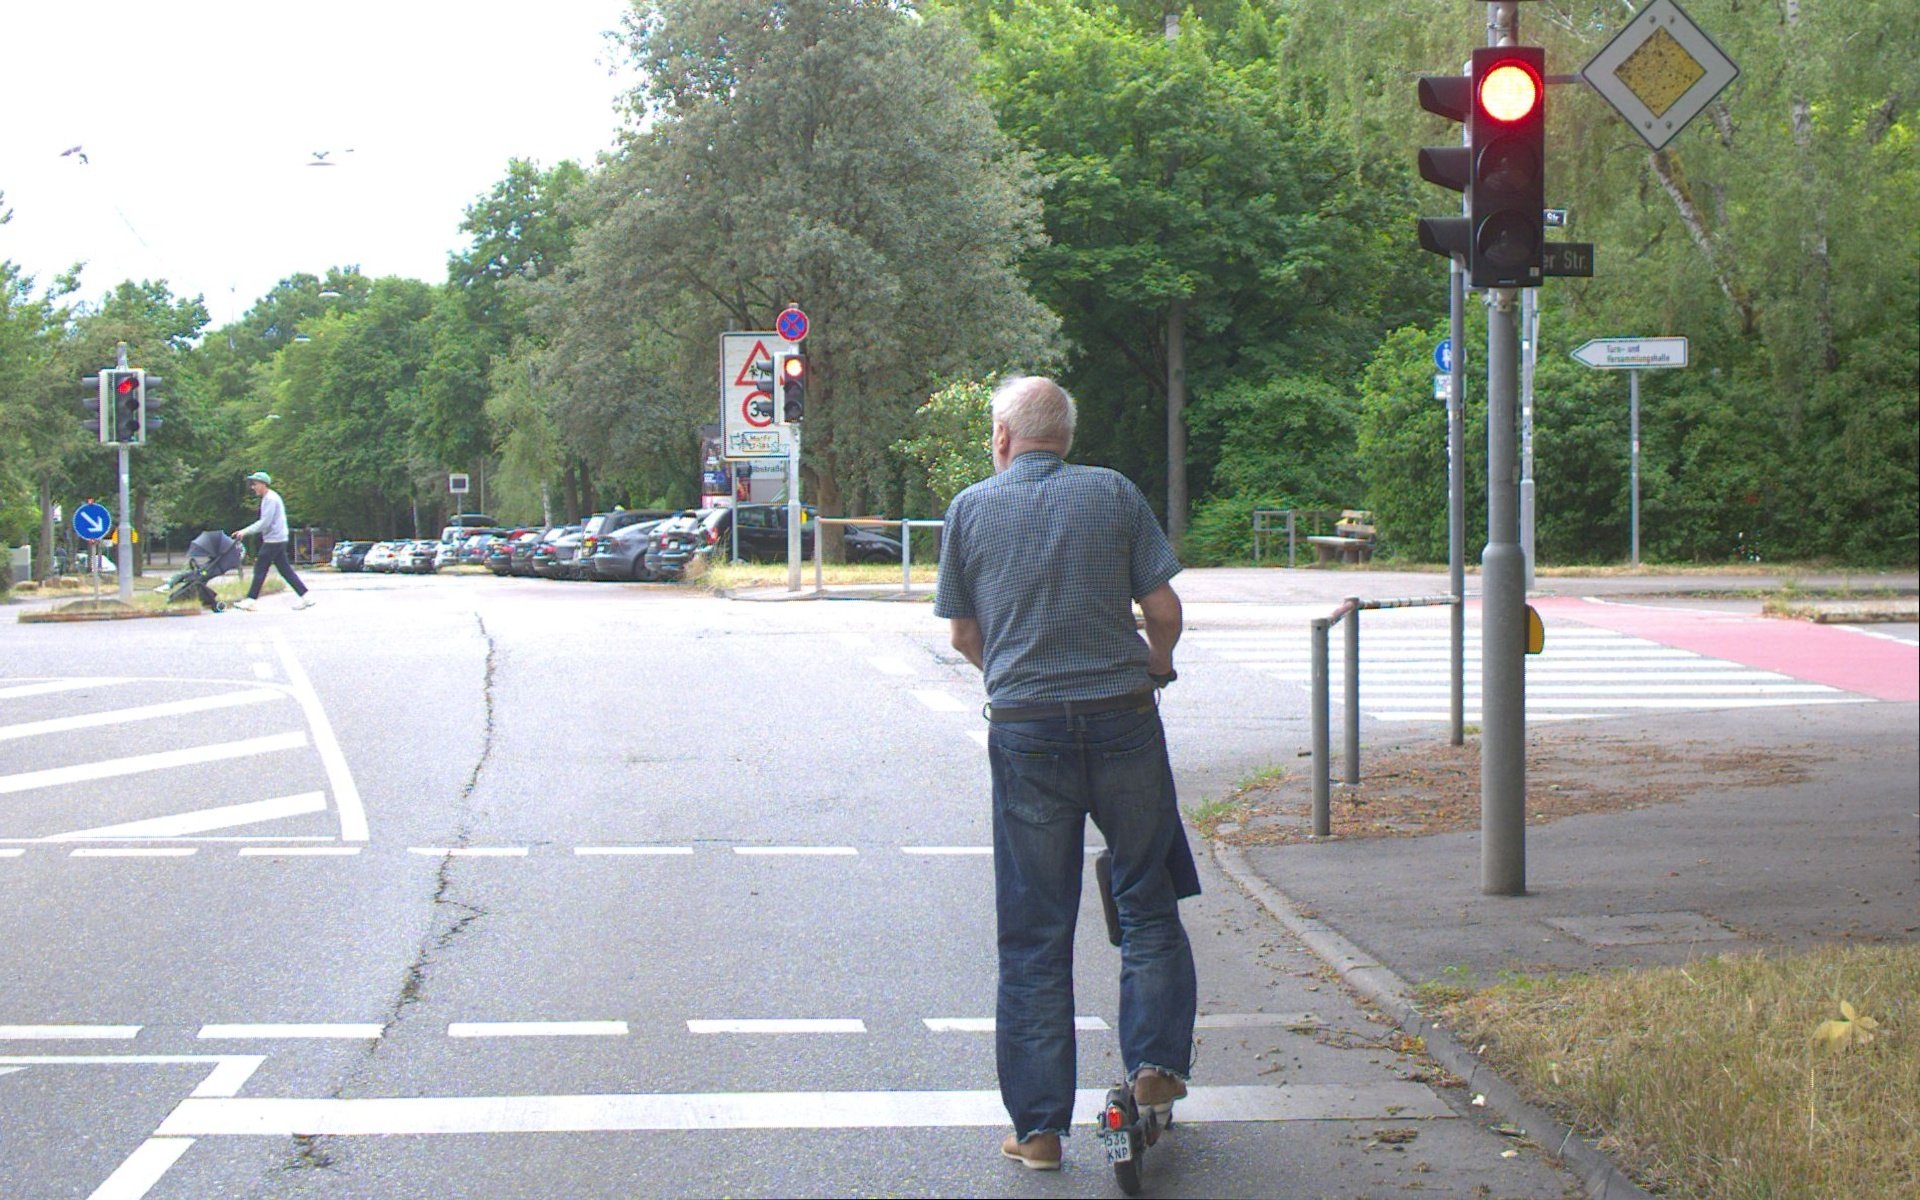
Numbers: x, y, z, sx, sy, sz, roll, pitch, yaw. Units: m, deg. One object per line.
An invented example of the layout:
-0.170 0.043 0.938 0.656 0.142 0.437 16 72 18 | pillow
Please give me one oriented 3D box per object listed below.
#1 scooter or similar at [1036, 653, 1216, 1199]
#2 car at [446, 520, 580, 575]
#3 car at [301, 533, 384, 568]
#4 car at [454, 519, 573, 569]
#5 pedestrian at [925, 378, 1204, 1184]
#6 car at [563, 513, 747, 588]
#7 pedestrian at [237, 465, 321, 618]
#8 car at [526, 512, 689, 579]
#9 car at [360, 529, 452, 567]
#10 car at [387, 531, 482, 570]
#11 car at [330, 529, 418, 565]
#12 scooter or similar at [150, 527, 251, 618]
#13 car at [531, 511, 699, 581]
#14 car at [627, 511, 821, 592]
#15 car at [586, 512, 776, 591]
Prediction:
0.385 0.734 7.656 0.282 1.174 1.177 -1 2 8 | scooter or similar
-14.219 -1.666 109.290 3.840 1.605 1.729 -3 2 -23 | car
-31.590 -2.541 175.974 3.840 1.605 1.729 -3 2 -23 | car
-15.885 -1.994 122.254 3.840 1.605 1.729 -3 2 -23 | car
0.249 0.405 7.940 0.573 1.807 0.420 -1 1 8 | pedestrian
-7.072 -1.158 79.678 3.840 1.605 1.729 -3 2 -23 | car
-8.377 -0.724 42.270 0.884 1.856 0.574 -2 2 -21 | pedestrian
-9.176 -1.430 89.434 3.840 1.605 1.729 -3 2 -23 | car
-25.629 -2.398 159.121 3.840 1.605 1.729 -3 2 -23 | car
-23.605 -2.234 154.422 3.840 1.605 1.729 -3 2 -23 | car
-28.310 -2.577 166.182 3.840 1.605 1.729 -3 2 -23 | car
-9.260 -0.338 41.926 1.107 1.077 0.578 -2 2 -20 | scooter or similar
-8.732 -1.381 87.023 3.840 1.605 1.729 -3 2 -23 | car
-5.163 -1.069 75.169 3.840 1.605 1.729 -3 2 -21 | car
-6.267 -1.103 77.138 3.841 1.605 1.729 -3 2 -24 | car
